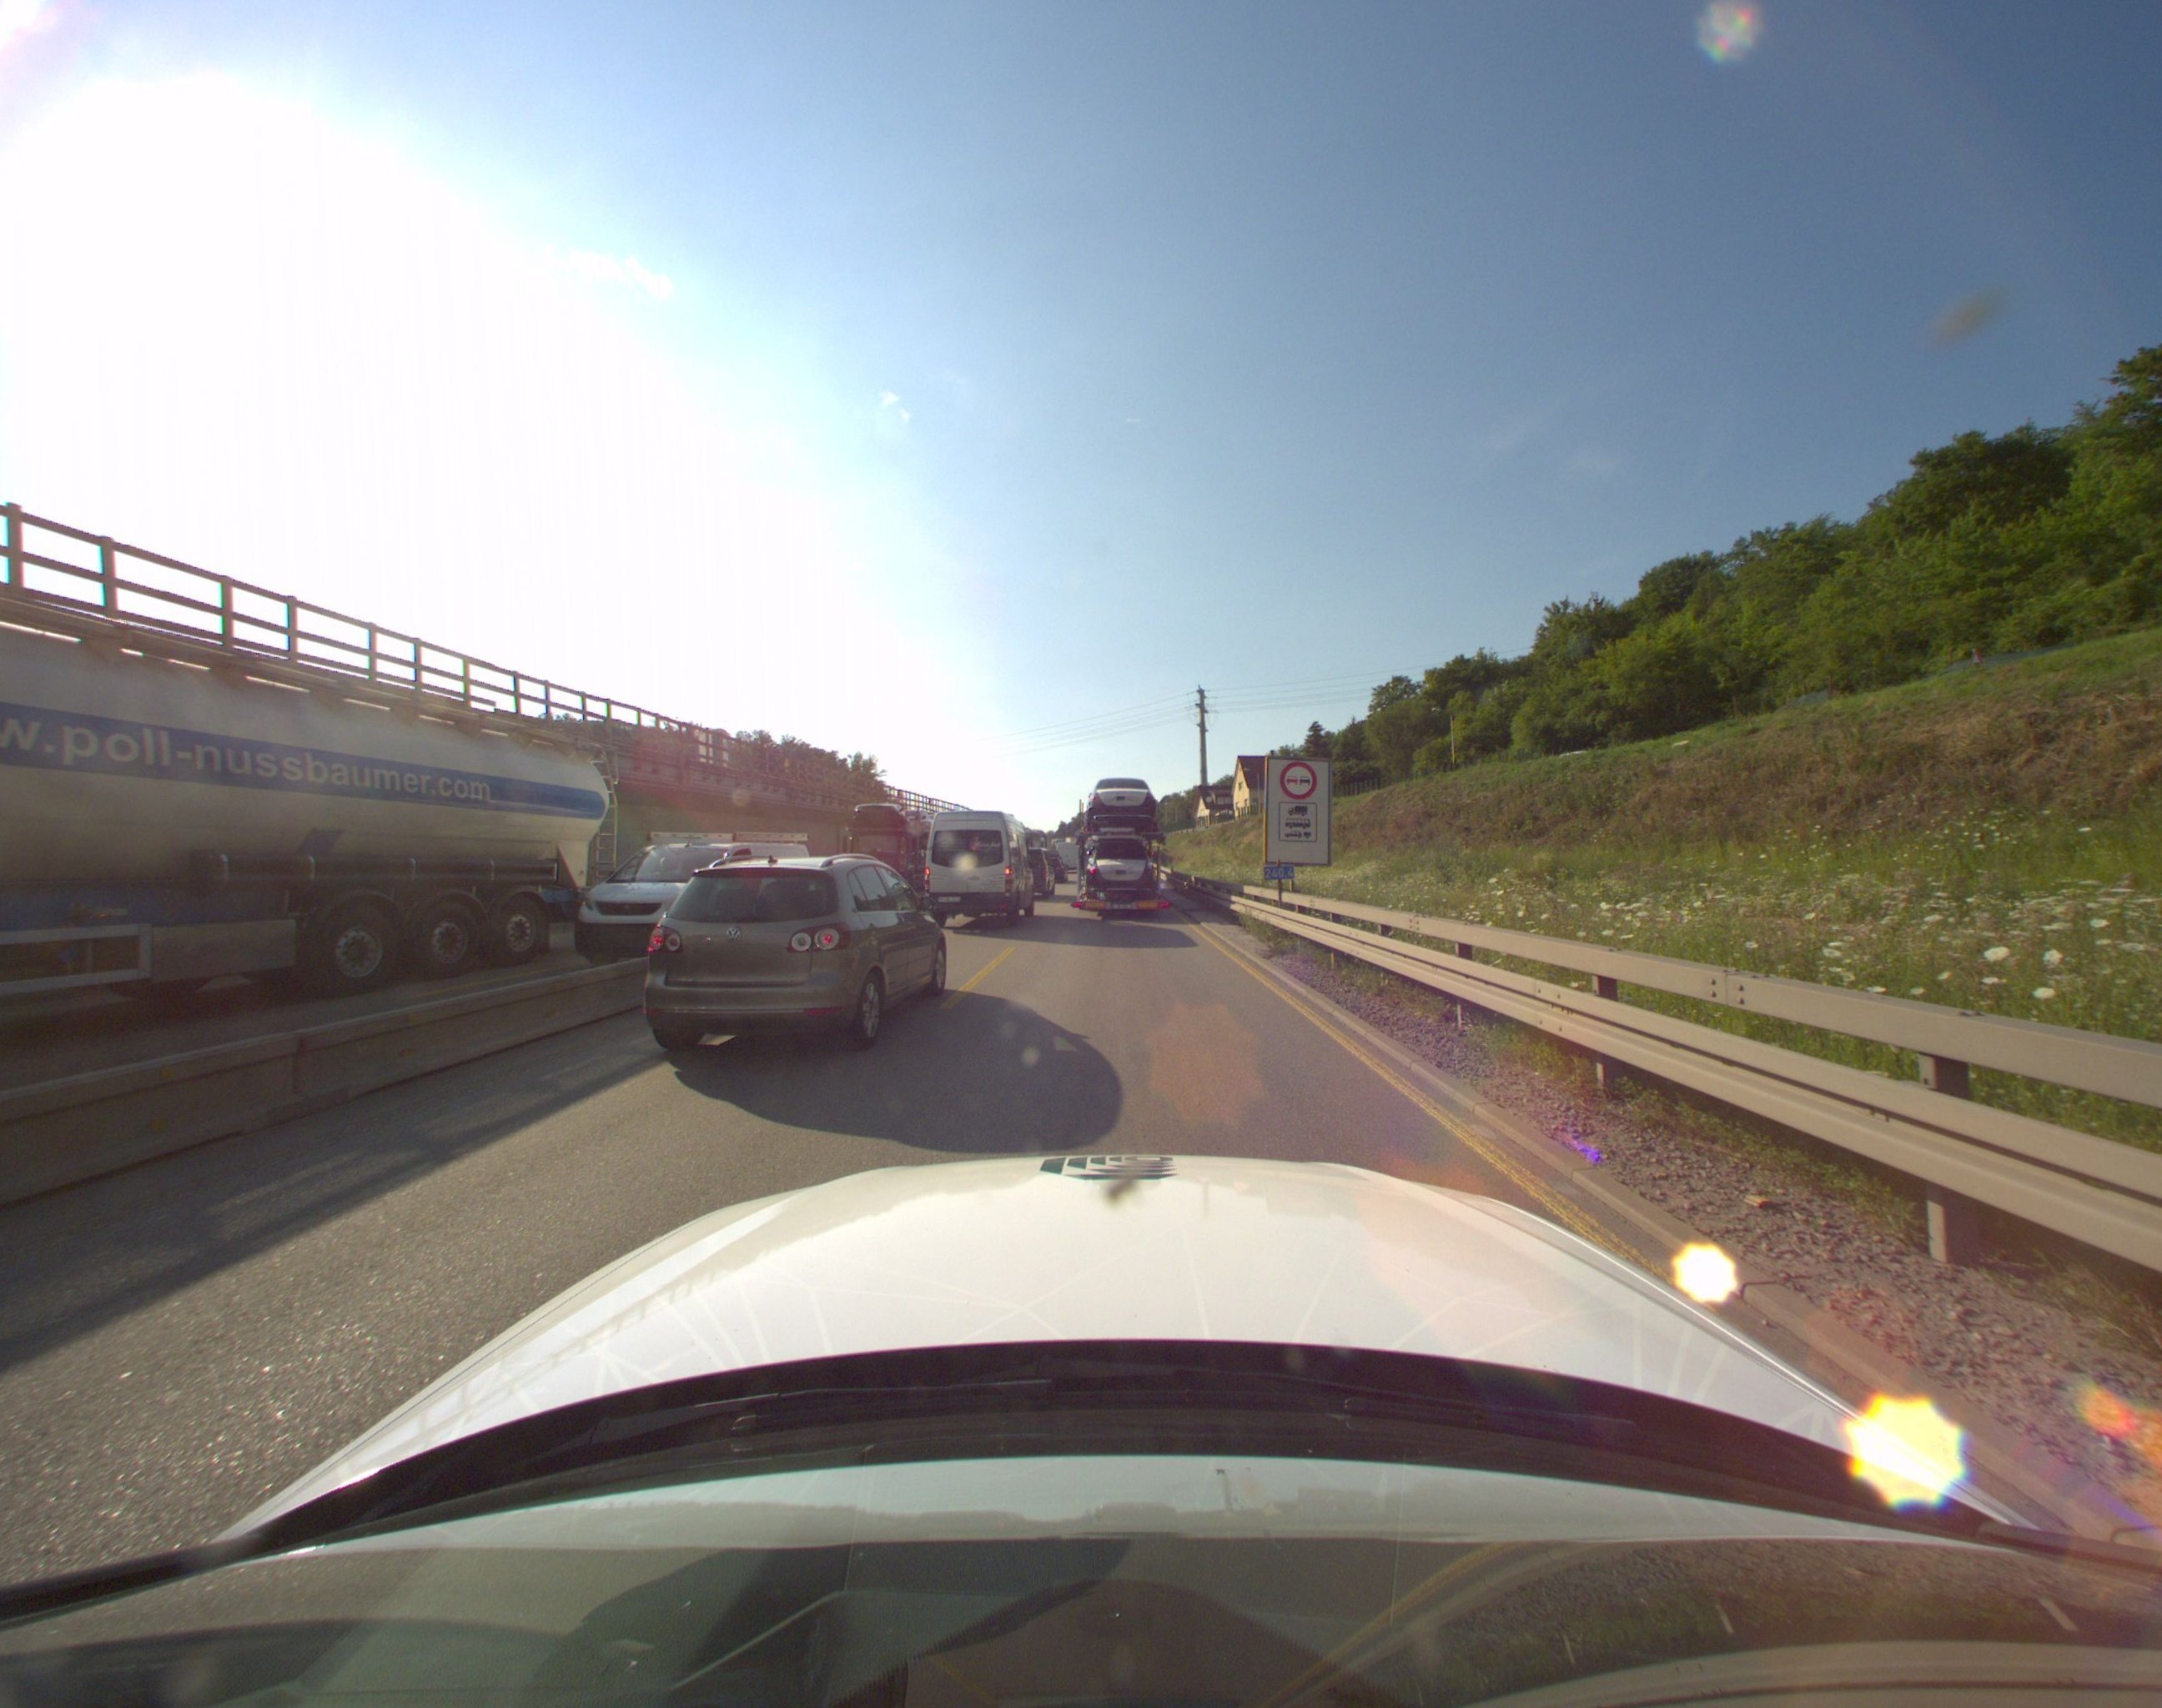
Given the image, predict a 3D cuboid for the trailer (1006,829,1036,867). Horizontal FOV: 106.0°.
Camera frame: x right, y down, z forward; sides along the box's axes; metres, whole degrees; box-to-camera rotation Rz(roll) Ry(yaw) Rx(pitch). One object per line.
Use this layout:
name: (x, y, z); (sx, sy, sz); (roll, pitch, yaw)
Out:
trailer: (-6.675, -0.746, 91.690); (2.754, 4.141, 5.978); (0, 1, 1)

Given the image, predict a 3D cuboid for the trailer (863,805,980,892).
trailer: (-8.322, -0.204, 45.452); (2.760, 4.031, 15.772); (0, 0, 3)

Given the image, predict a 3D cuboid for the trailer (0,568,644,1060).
trailer: (-9.733, -0.296, 8.605); (2.643, 3.850, 13.446); (0, 0, 1)

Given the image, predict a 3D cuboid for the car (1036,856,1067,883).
car: (-1.740, 0.905, 49.862); (1.719, 1.522, 3.973); (0, 0, 0)

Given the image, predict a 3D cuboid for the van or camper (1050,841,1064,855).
van or camper: (-4.902, -1.286, 167.851); (2.303, 2.662, 6.457); (-3, 0, 1)

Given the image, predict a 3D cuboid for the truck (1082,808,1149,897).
truck: (1.498, -0.029, 36.002); (2.672, 3.535, 7.197); (0, 0, 2)

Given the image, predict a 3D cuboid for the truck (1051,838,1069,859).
truck: (-3.695, -0.867, 144.350); (2.705, 3.424, 8.141); (-3, 0, 1)

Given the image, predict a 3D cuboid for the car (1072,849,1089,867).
car: (-0.033, 0.428, 93.771); (1.879, 2.100, 3.766); (0, 0, 1)

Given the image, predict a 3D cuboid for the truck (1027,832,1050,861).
truck: (-5.957, -0.998, 114.585); (2.850, 4.008, 5.659); (0, -1, 1)

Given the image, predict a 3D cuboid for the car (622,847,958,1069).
car: (-2.444, 0.788, 8.060); (1.674, 1.588, 4.273); (-1, -1, 2)

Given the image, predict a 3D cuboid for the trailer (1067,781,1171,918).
trailer: (1.248, -0.084, 28.612); (2.672, 3.535, 15.295); (0, 0, 2)

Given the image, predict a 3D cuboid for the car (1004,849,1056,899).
car: (-1.995, 0.800, 33.010); (1.802, 1.904, 4.000); (0, -1, 0)

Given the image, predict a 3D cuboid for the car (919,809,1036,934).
car: (-2.376, 0.349, 20.327); (1.986, 2.648, 5.533); (-1, 0, 2)

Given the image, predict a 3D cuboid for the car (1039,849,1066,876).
car: (-2.781, 0.823, 81.221); (2.463, 2.534, 4.001); (-1, 0, 1)

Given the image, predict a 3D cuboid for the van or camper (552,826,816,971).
van or camper: (-6.360, 0.636, 13.944); (1.852, 2.014, 5.296); (0, 0, 1)

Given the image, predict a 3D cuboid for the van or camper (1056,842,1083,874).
van or camper: (-0.963, 0.366, 69.106); (1.960, 2.591, 5.045); (0, -1, 3)

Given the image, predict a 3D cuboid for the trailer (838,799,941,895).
trailer: (-8.609, -0.263, 37.585); (2.760, 4.031, 7.212); (0, -1, 2)
